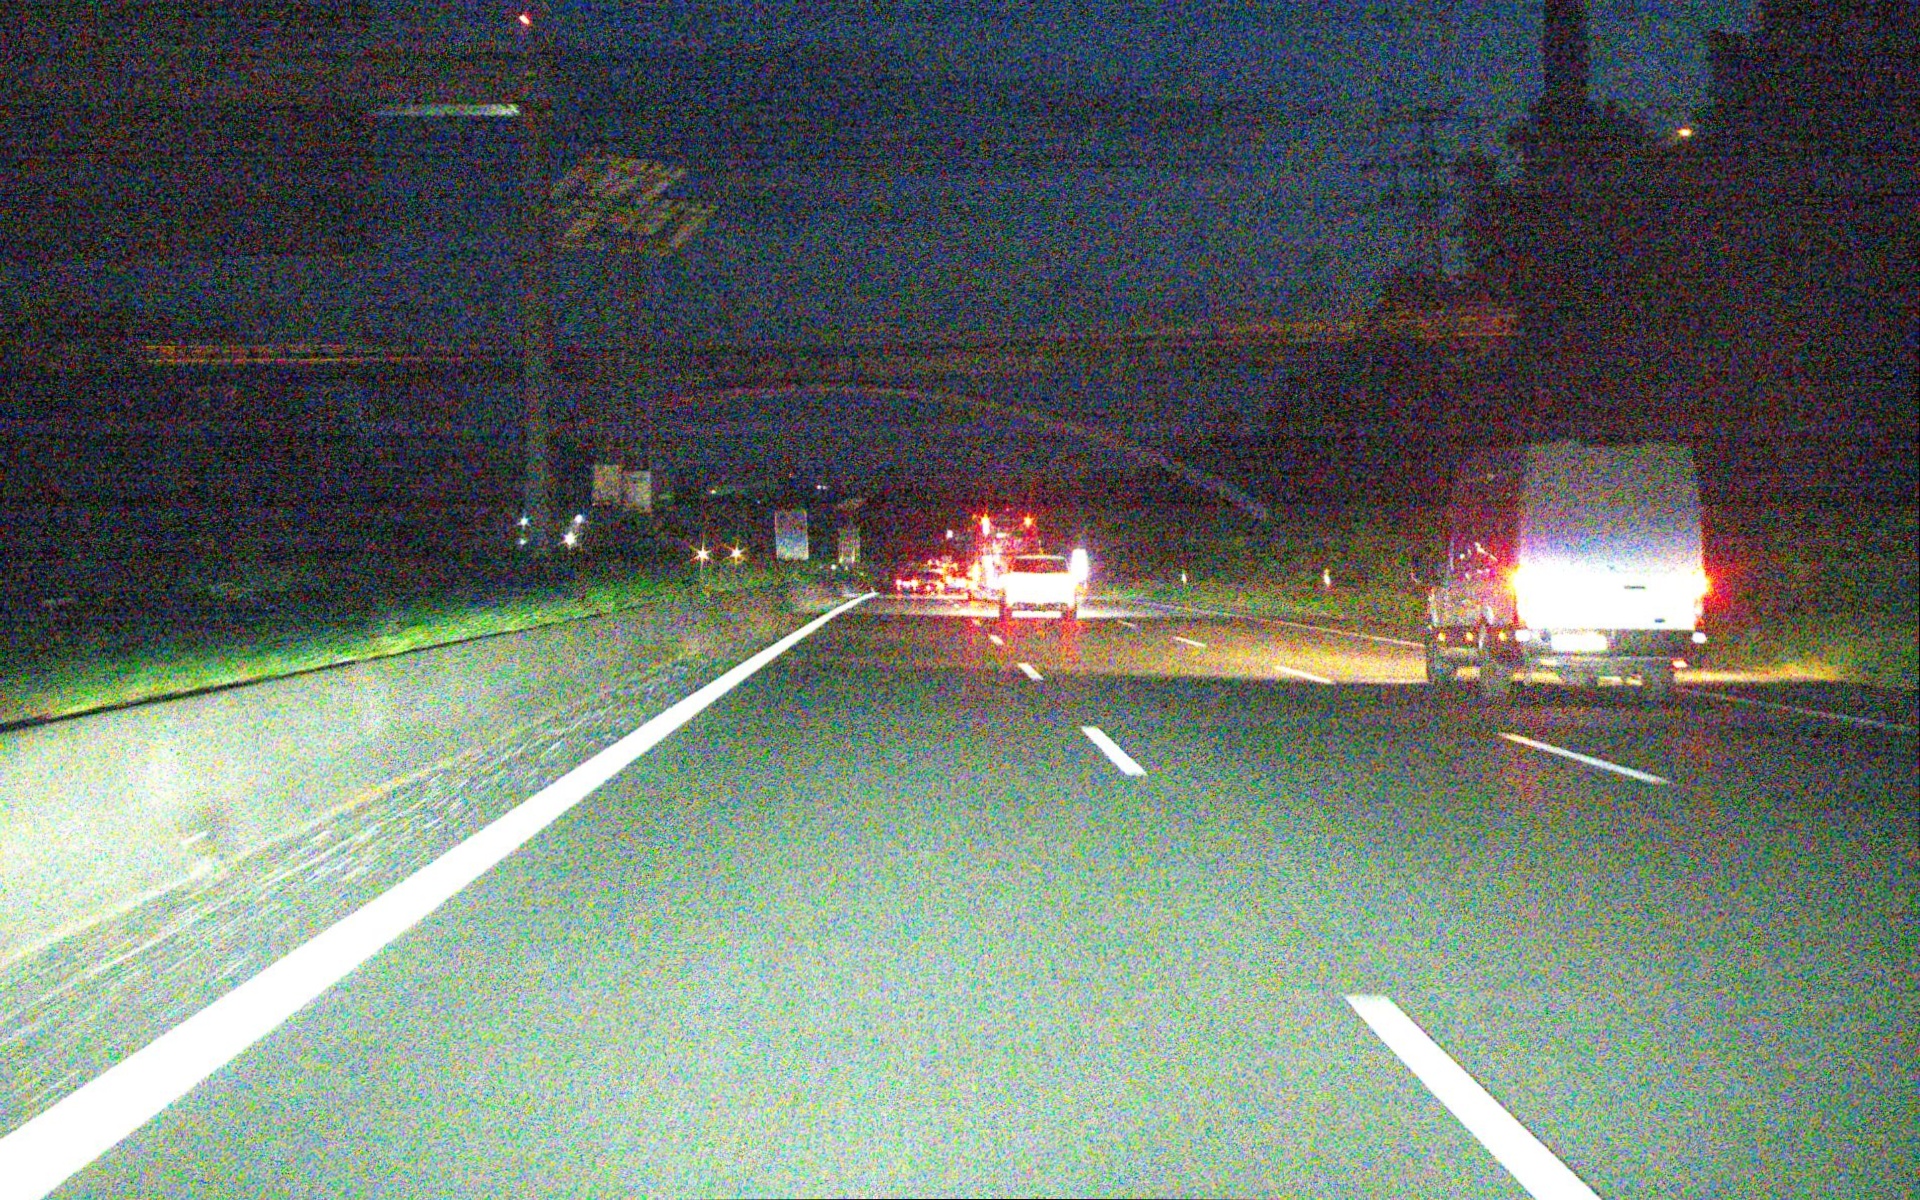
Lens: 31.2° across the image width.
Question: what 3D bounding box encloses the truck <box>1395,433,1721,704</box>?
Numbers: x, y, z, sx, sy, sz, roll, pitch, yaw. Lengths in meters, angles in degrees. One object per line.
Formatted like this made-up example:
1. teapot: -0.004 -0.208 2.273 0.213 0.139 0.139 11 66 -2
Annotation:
1. truck: 6.465 -0.364 38.180 2.076 2.682 7.309 1 1 -2

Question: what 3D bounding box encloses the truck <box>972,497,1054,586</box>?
1. truck: 2.057 -2.414 137.426 3.044 3.313 10.143 1 2 0

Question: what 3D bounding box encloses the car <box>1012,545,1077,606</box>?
1. car: 2.074 -0.633 85.276 1.346 1.382 3.502 1 2 -3

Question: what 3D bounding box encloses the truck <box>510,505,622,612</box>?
1. truck: -18.098 -2.036 158.991 3.246 4.473 17.440 1 2 -1

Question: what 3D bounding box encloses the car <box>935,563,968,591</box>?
1. car: -0.480 -1.317 197.115 1.821 1.461 4.248 1 2 0
